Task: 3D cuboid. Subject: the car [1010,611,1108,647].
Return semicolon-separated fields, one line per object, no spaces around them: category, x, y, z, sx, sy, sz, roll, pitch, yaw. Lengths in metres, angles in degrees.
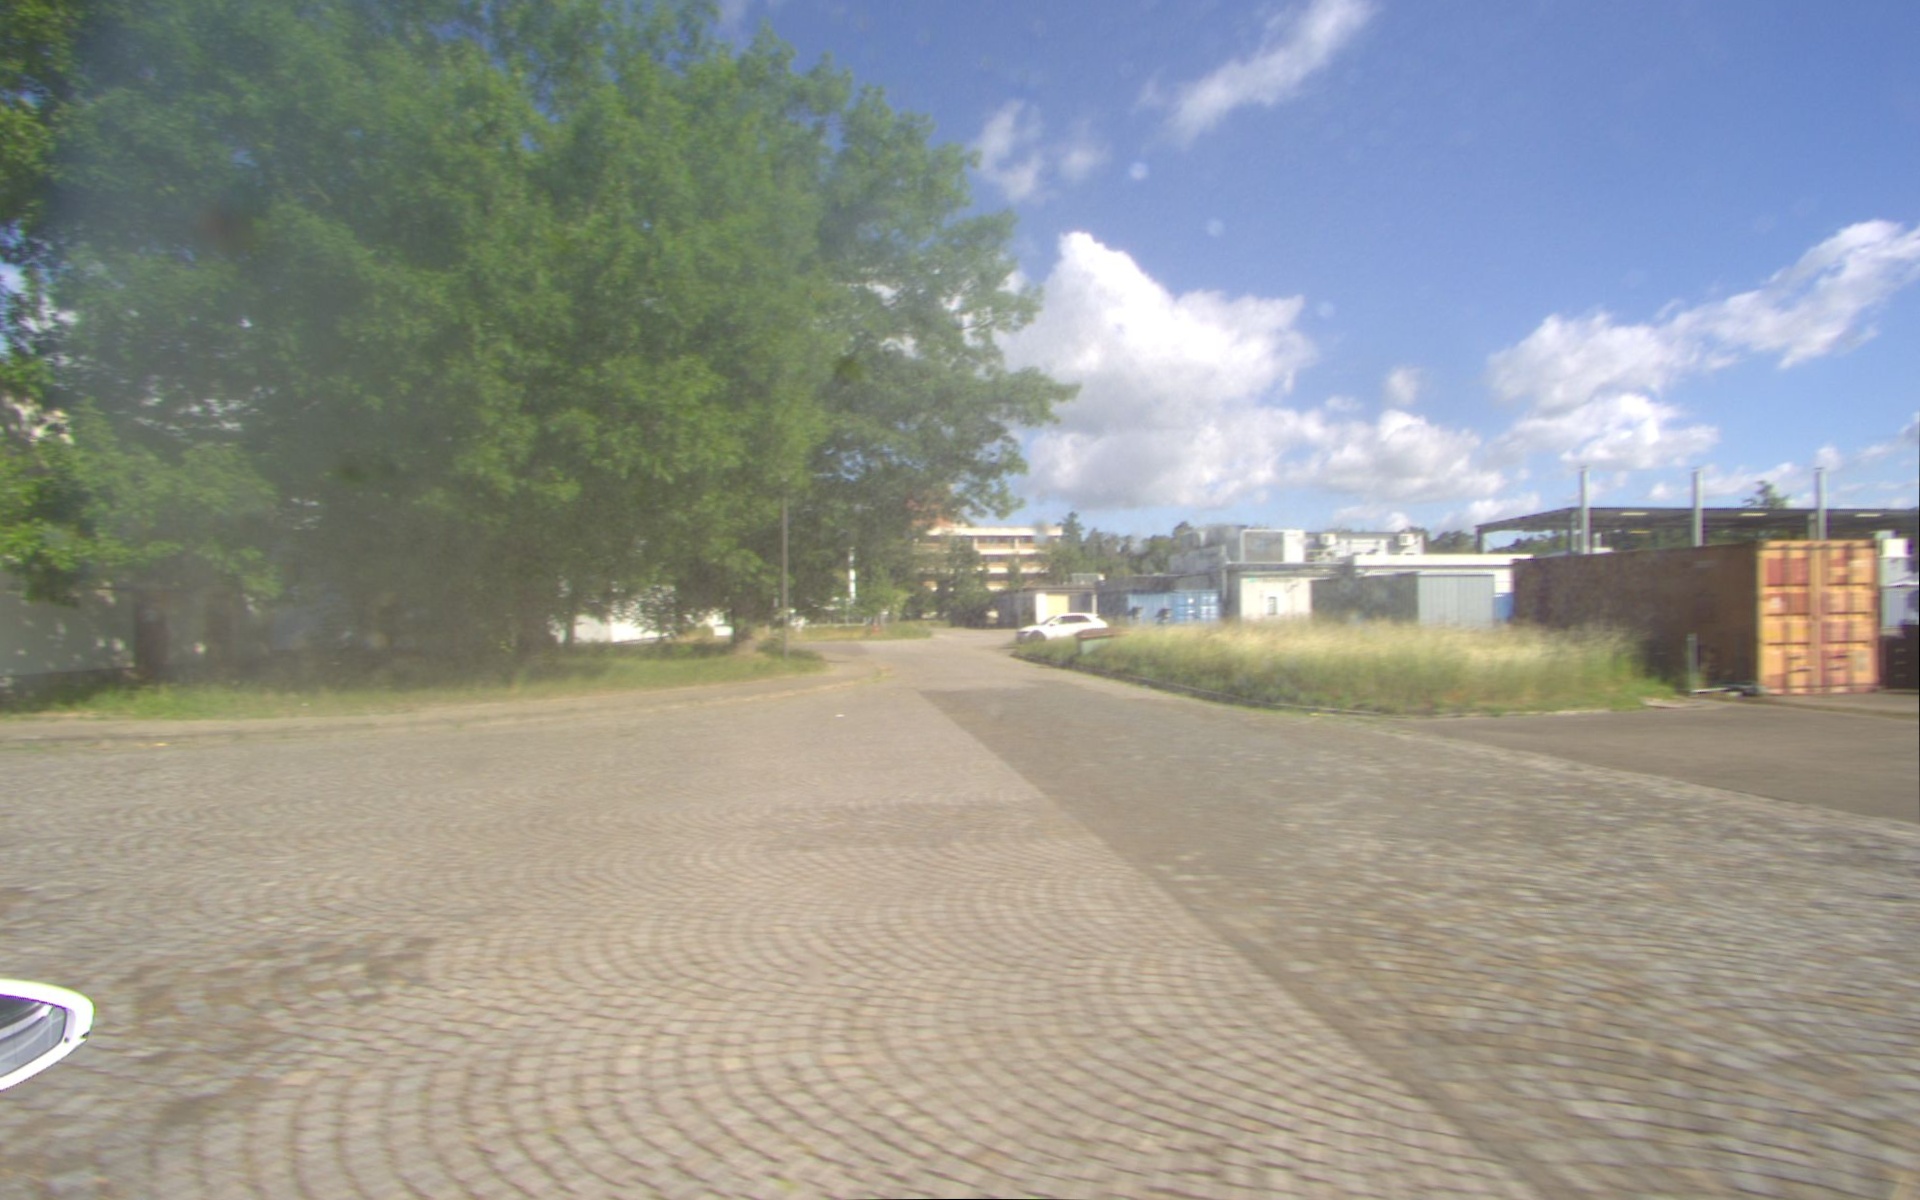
car;4.855;1.393;49.208;4.433;1.669;1.999;0;0;-9
